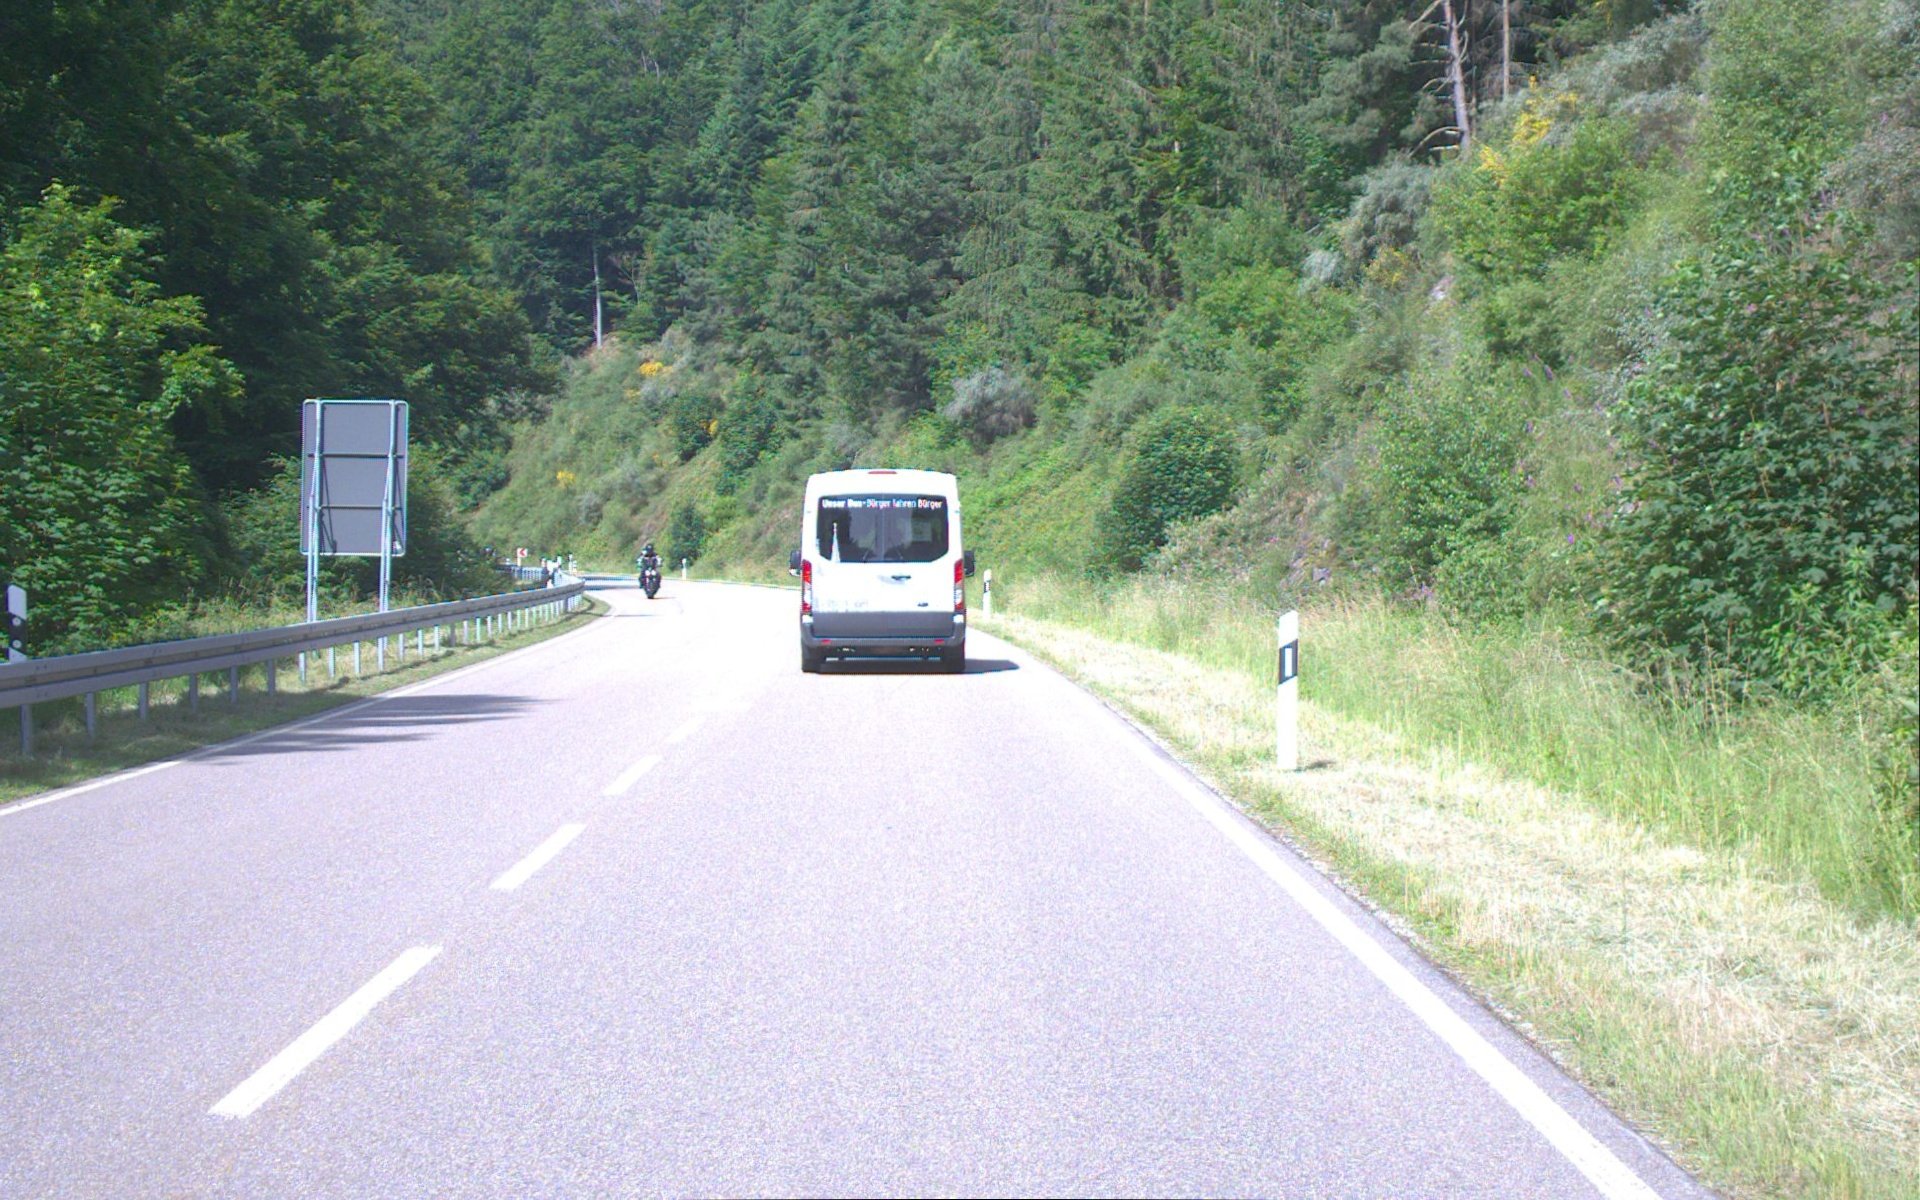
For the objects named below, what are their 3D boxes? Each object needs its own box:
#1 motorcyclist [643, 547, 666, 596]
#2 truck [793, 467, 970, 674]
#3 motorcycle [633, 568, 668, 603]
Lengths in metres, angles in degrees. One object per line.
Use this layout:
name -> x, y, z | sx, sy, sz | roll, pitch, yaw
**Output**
motorcyclist -> -9.570, -0.900, 107.573 | 0.658, 1.508, 0.934 | 0, 1, -2
truck -> -1.048, -0.387, 43.194 | 2.083, 2.451, 4.875 | 0, 1, -3
motorcycle -> -9.691, -0.445, 107.655 | 0.984, 1.068, 1.963 | 0, 1, -2
